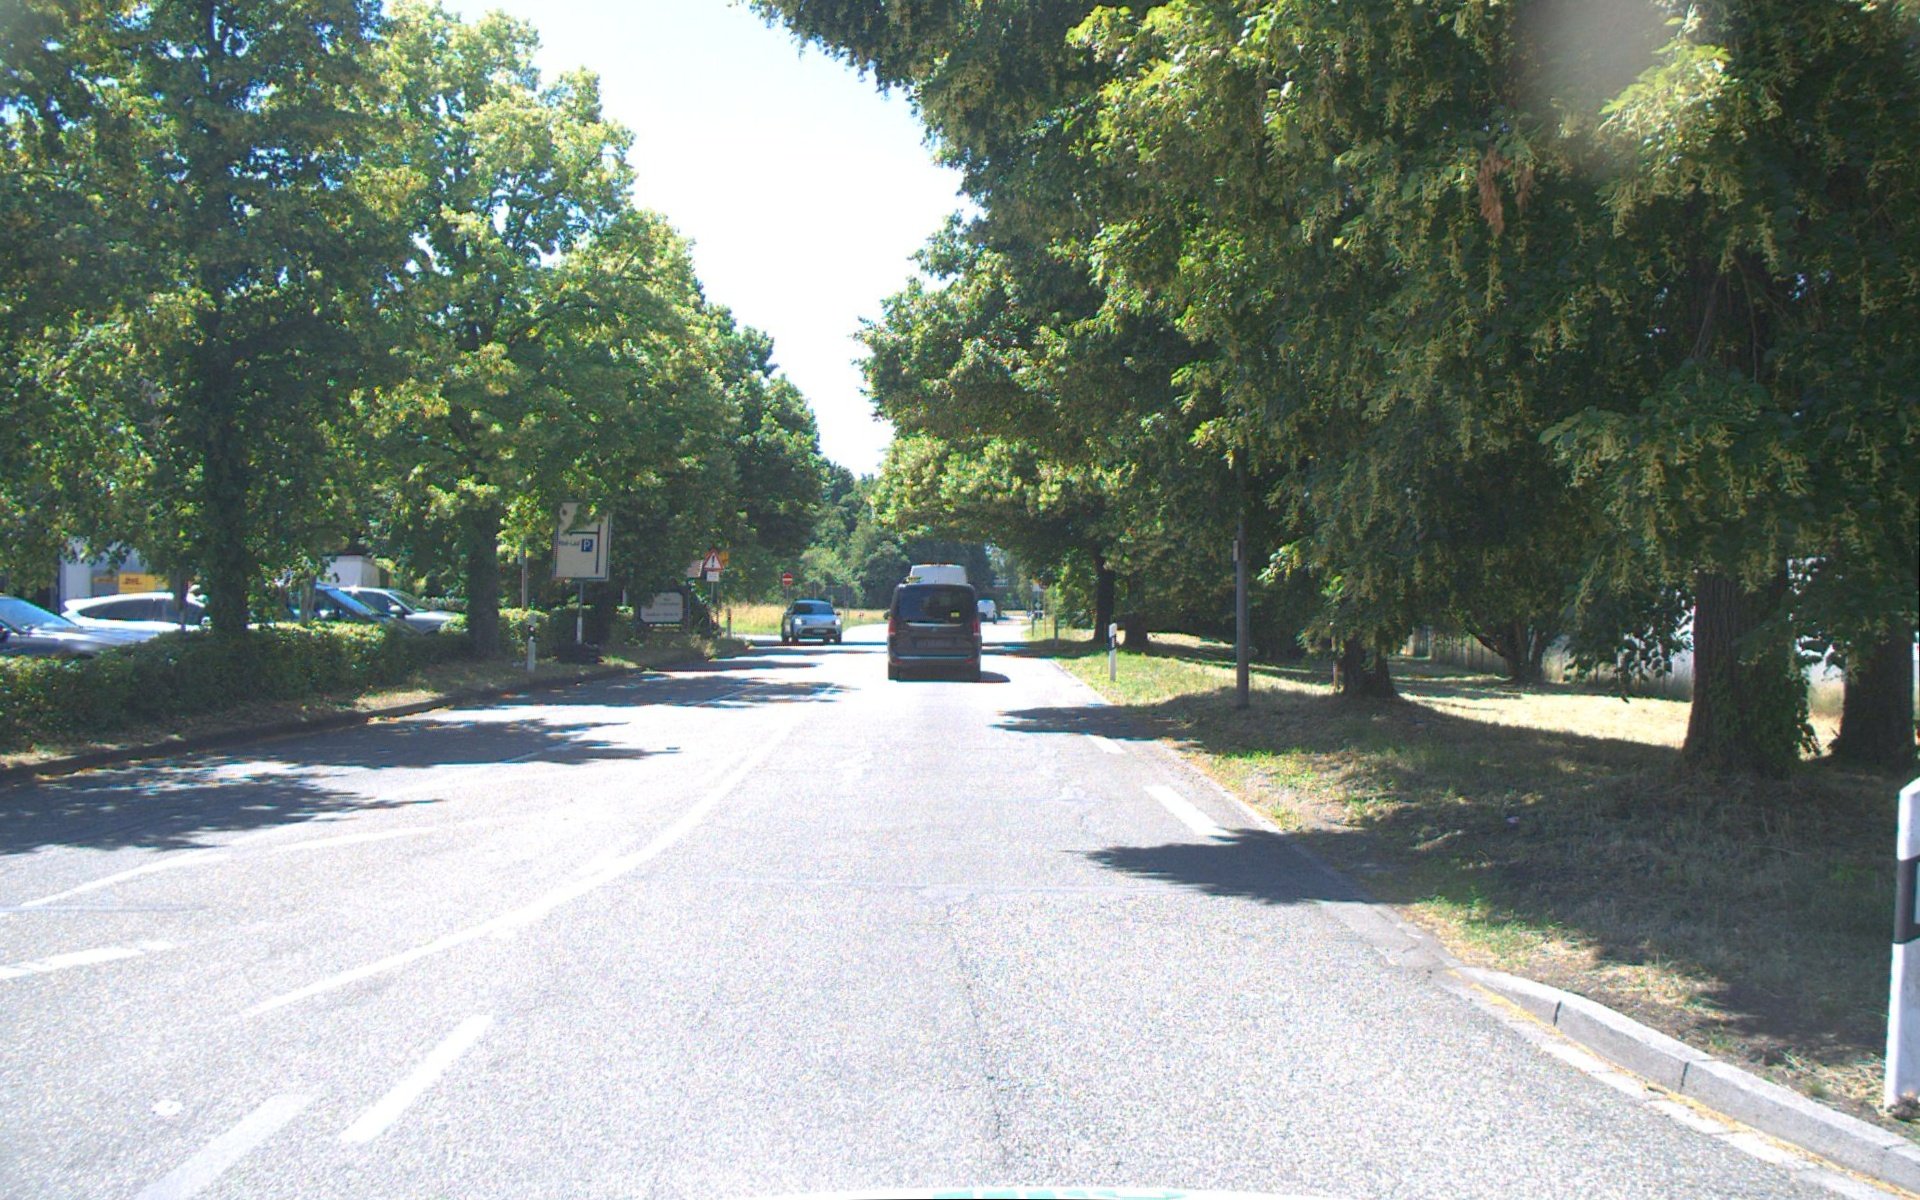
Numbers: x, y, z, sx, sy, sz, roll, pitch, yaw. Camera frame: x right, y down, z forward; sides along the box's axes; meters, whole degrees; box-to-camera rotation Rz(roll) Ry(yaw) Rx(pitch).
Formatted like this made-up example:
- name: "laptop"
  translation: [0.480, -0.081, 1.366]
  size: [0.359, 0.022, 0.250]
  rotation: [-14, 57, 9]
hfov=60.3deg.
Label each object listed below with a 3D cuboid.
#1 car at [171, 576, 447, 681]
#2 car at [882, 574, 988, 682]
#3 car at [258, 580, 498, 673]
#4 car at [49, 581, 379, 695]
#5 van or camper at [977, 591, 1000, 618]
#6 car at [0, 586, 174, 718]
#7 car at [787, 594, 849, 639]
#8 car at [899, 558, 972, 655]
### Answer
- name: "car"
  translation: [-12.112, 0.518, 31.012]
  size: [4.312, 1.807, 2.071]
  rotation: [1, 0, -2]
- name: "car"
  translation: [-0.467, 0.539, 33.750]
  size: [1.953, 1.987, 5.004]
  rotation: [2, 0, 0]
- name: "car"
  translation: [-12.200, 0.540, 34.911]
  size: [4.312, 1.807, 2.071]
  rotation: [1, 0, -2]
- name: "car"
  translation: [-11.693, 0.586, 26.156]
  size: [4.312, 1.648, 1.894]
  rotation: [1, 0, -2]
- name: "van or camper"
  translation: [3.288, 0.508, 191.924]
  size: [2.578, 2.980, 5.206]
  rotation: [1, 0, 0]
- name: "car"
  translation: [-12.289, 0.592, 20.698]
  size: [3.948, 1.552, 1.933]
  rotation: [1, 0, -2]
- name: "car"
  translation: [-5.411, 0.598, 62.397]
  size: [2.055, 1.616, 4.467]
  rotation: [2, 0, -8]
- name: "car"
  translation: [-0.716, 0.180, 50.246]
  size: [2.035, 2.750, 4.666]
  rotation: [2, 0, 0]
